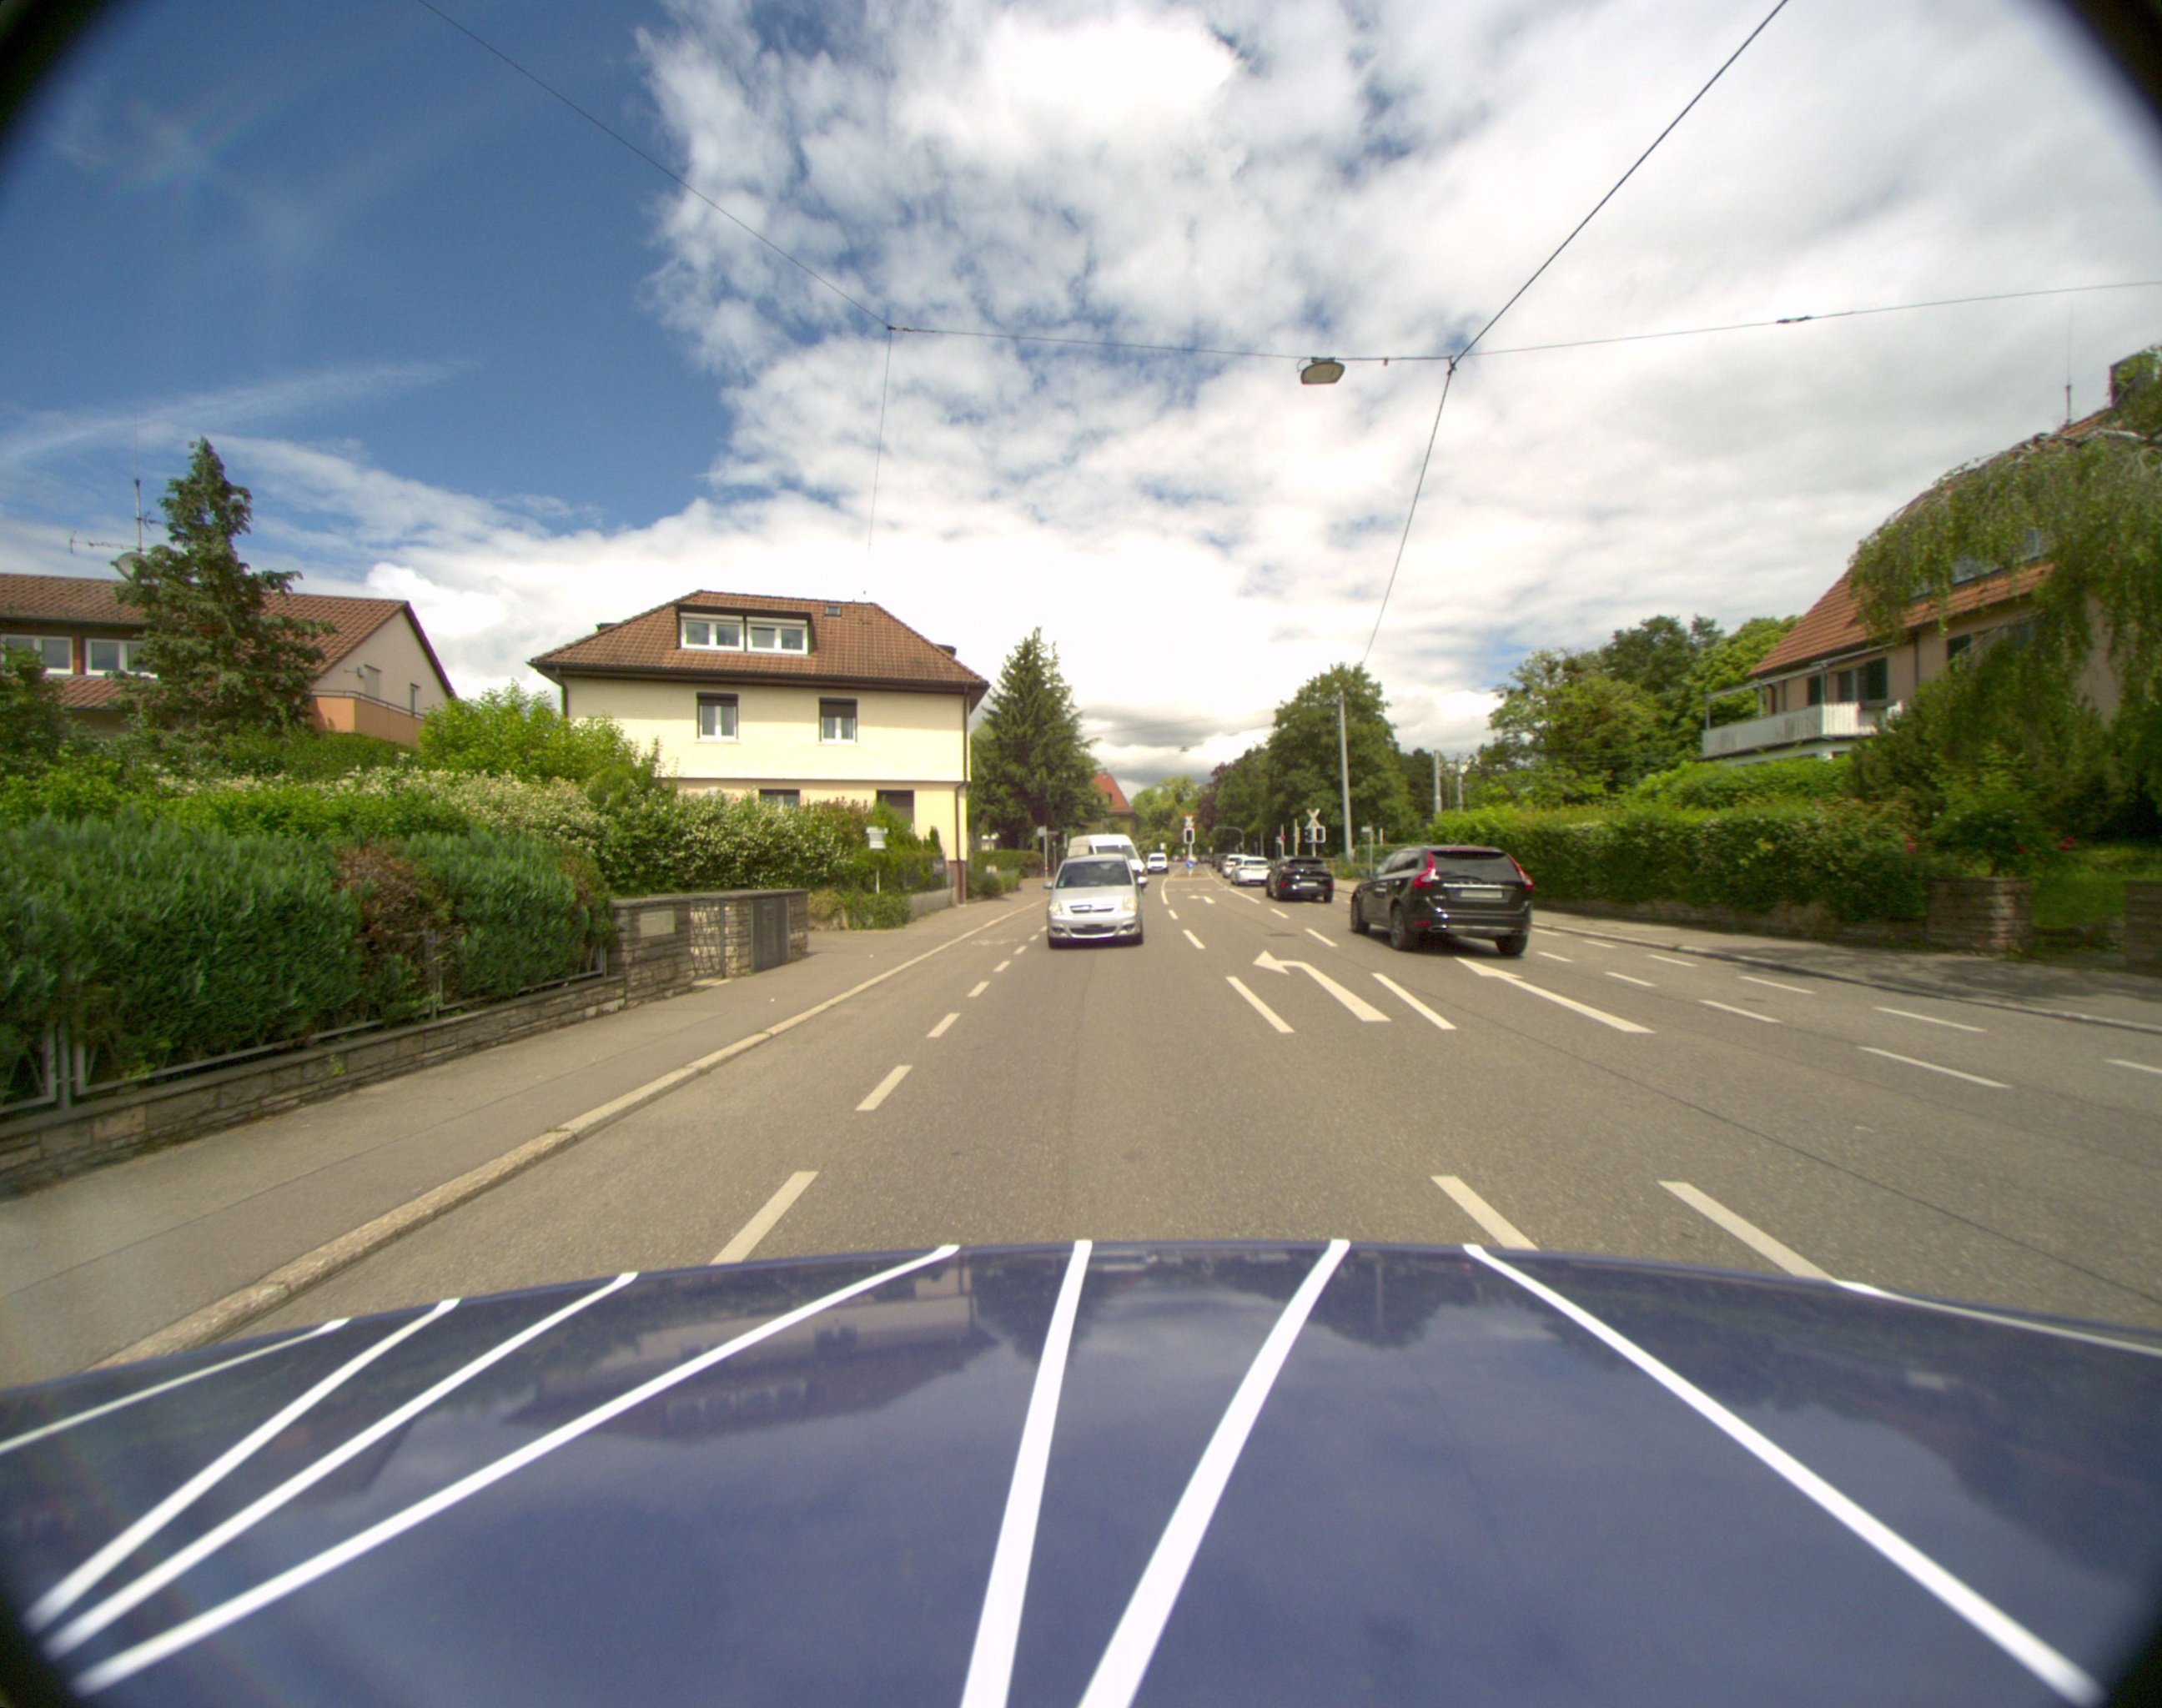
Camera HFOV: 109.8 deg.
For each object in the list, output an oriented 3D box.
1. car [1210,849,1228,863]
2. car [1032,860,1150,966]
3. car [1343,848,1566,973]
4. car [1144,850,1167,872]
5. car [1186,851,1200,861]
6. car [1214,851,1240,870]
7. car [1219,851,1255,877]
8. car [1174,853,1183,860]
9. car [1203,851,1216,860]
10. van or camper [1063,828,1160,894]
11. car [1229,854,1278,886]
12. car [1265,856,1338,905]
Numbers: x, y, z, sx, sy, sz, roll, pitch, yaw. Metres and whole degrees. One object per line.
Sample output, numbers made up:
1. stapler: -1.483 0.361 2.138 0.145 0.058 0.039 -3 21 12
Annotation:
1. car: 15.894 0.238 87.737 1.784 1.576 4.002 -1 0 6
2. car: 0.348 0.924 13.795 1.707 1.531 4.332 -2 0 6
3. car: 5.957 0.780 12.787 1.920 1.639 4.295 3 1 6
4. car: 6.702 0.596 67.875 1.932 1.771 4.002 -2 0 6
5. car: 17.109 0.290 116.313 1.932 1.412 4.002 -2 0 8
6. car: 12.805 0.573 66.870 1.801 1.583 4.002 -2 0 6
7. car: 10.223 0.646 50.079 1.851 1.565 4.161 -2 0 6
8. car: 20.228 0.564 157.578 1.932 1.412 4.002 -2 0 8
9. car: 21.250 0.204 126.126 1.932 1.412 4.002 -2 0 8
10. van or camper: 1.181 0.379 33.137 2.033 2.564 5.913 -2 -1 -20
11. car: 8.646 0.768 38.328 1.880 1.467 4.444 0 0 6
12. car: 7.323 0.828 25.632 1.700 1.448 4.117 0 1 7
